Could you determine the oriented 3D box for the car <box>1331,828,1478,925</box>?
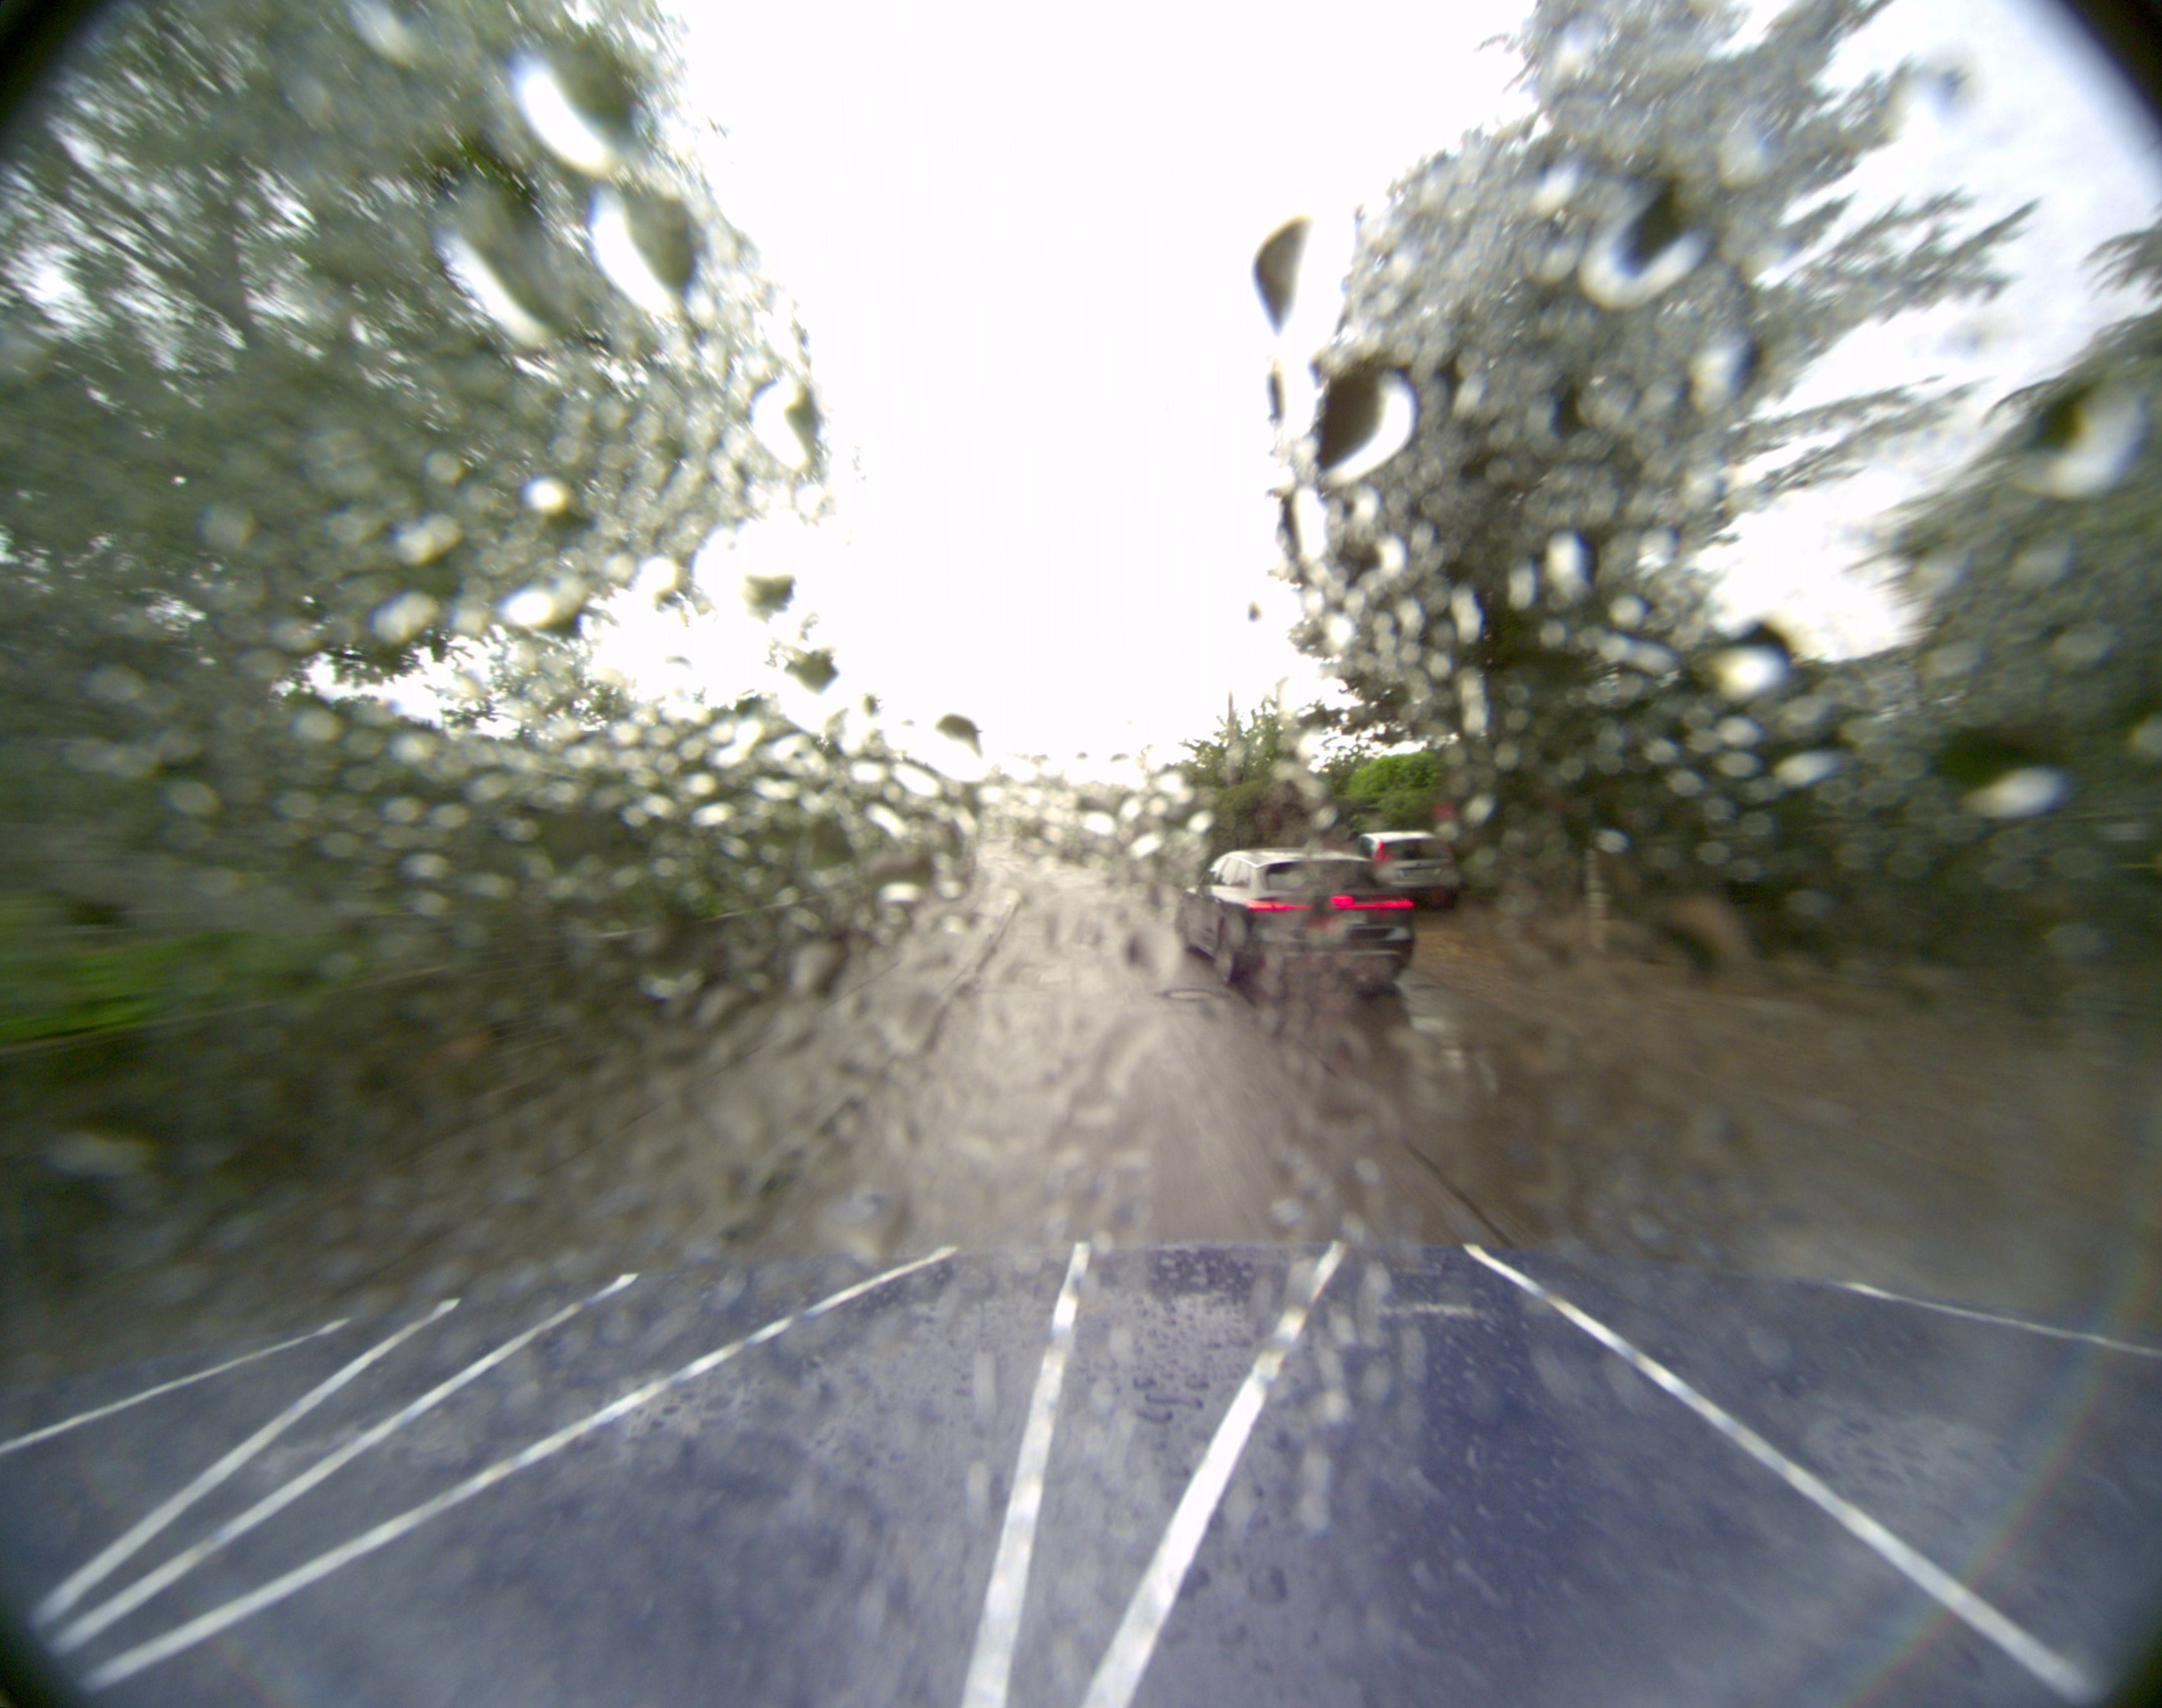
[{"bbox_3d":[6.410,0.356,15.493,1.787,1.518,3.656,-4,3,8],"label":"car"}]

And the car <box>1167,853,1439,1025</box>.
[{"bbox_3d":[2.377,0.804,9.443,1.894,1.514,4.419,-2,1,-2],"label":"car"}]
